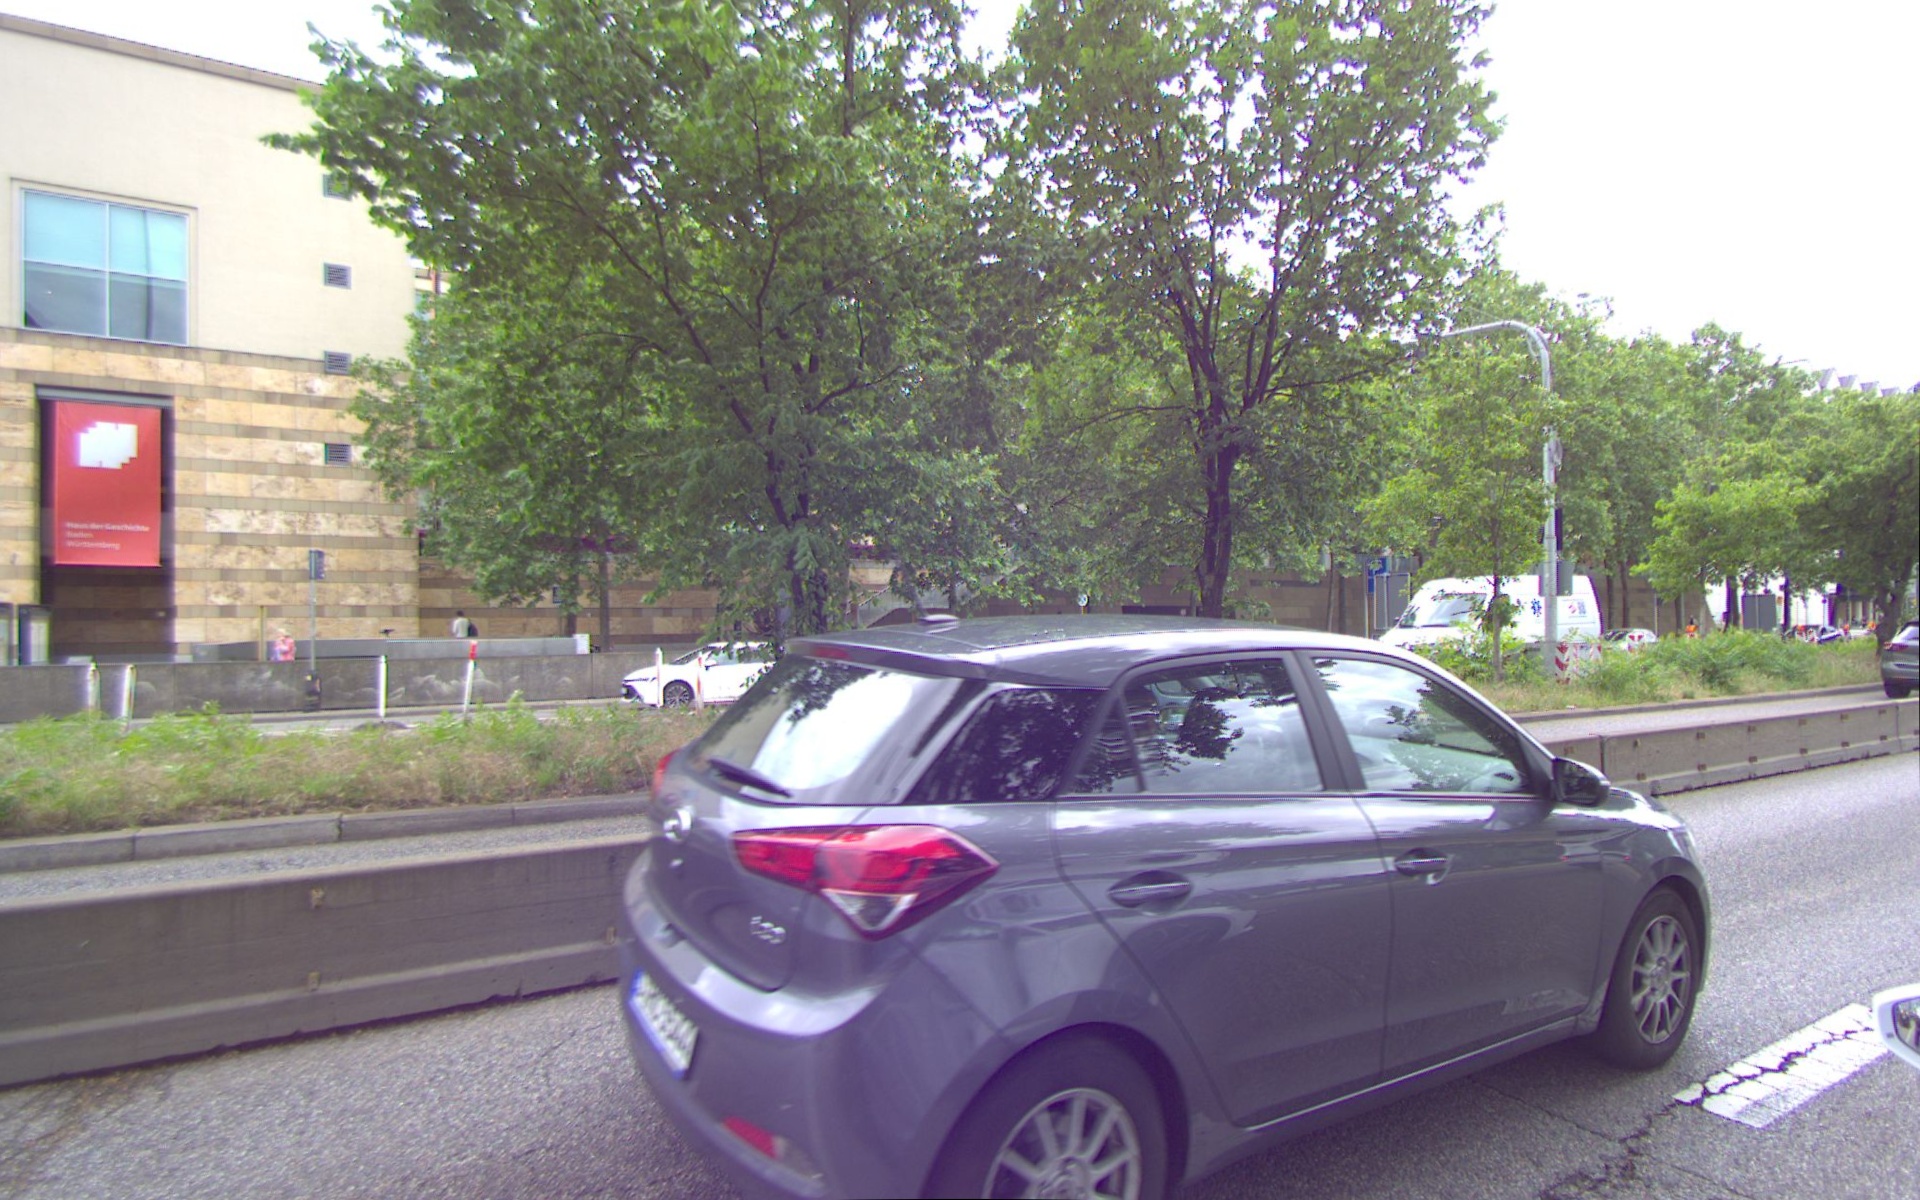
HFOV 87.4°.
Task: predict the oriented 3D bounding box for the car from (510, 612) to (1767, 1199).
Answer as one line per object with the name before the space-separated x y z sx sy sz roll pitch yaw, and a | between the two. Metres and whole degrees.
car | 0.780 0.785 3.349 3.975 1.456 1.788 1 0 -32

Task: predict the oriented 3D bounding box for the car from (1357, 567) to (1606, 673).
car | 11.125 0.411 21.307 5.513 1.995 2.105 0 -1 -31

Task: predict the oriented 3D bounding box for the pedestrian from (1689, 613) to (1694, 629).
pedestrian | 51.217 1.483 70.344 0.212 1.093 0.258 2 1 42

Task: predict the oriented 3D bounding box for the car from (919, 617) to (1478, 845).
car | 2.030 0.838 8.046 4.490 1.385 1.670 0 -1 -31

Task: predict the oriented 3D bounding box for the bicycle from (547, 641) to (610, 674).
bicycle | -12.100 1.809 31.869 1.820 1.008 0.487 1 1 -25

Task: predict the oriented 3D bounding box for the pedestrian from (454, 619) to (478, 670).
pedestrian | -15.637 1.389 31.797 0.616 1.590 0.434 0 -1 -38

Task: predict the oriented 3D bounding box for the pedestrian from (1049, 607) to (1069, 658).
pedestrian | 4.011 1.292 40.643 0.657 2.040 0.449 0 -1 -31

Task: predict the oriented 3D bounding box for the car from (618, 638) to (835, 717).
car | -5.177 1.659 22.495 4.470 1.547 1.637 0 -1 -31

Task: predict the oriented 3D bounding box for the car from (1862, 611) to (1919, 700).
car | 17.456 0.938 17.412 3.915 1.455 1.653 1 -1 -31

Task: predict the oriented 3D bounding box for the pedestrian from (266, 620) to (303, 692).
pedestrian | -14.887 1.228 22.134 0.553 1.552 0.525 -1 -1 35

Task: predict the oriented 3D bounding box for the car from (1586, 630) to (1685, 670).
car | 27.413 1.992 40.757 3.953 1.477 1.839 0 -1 -31
